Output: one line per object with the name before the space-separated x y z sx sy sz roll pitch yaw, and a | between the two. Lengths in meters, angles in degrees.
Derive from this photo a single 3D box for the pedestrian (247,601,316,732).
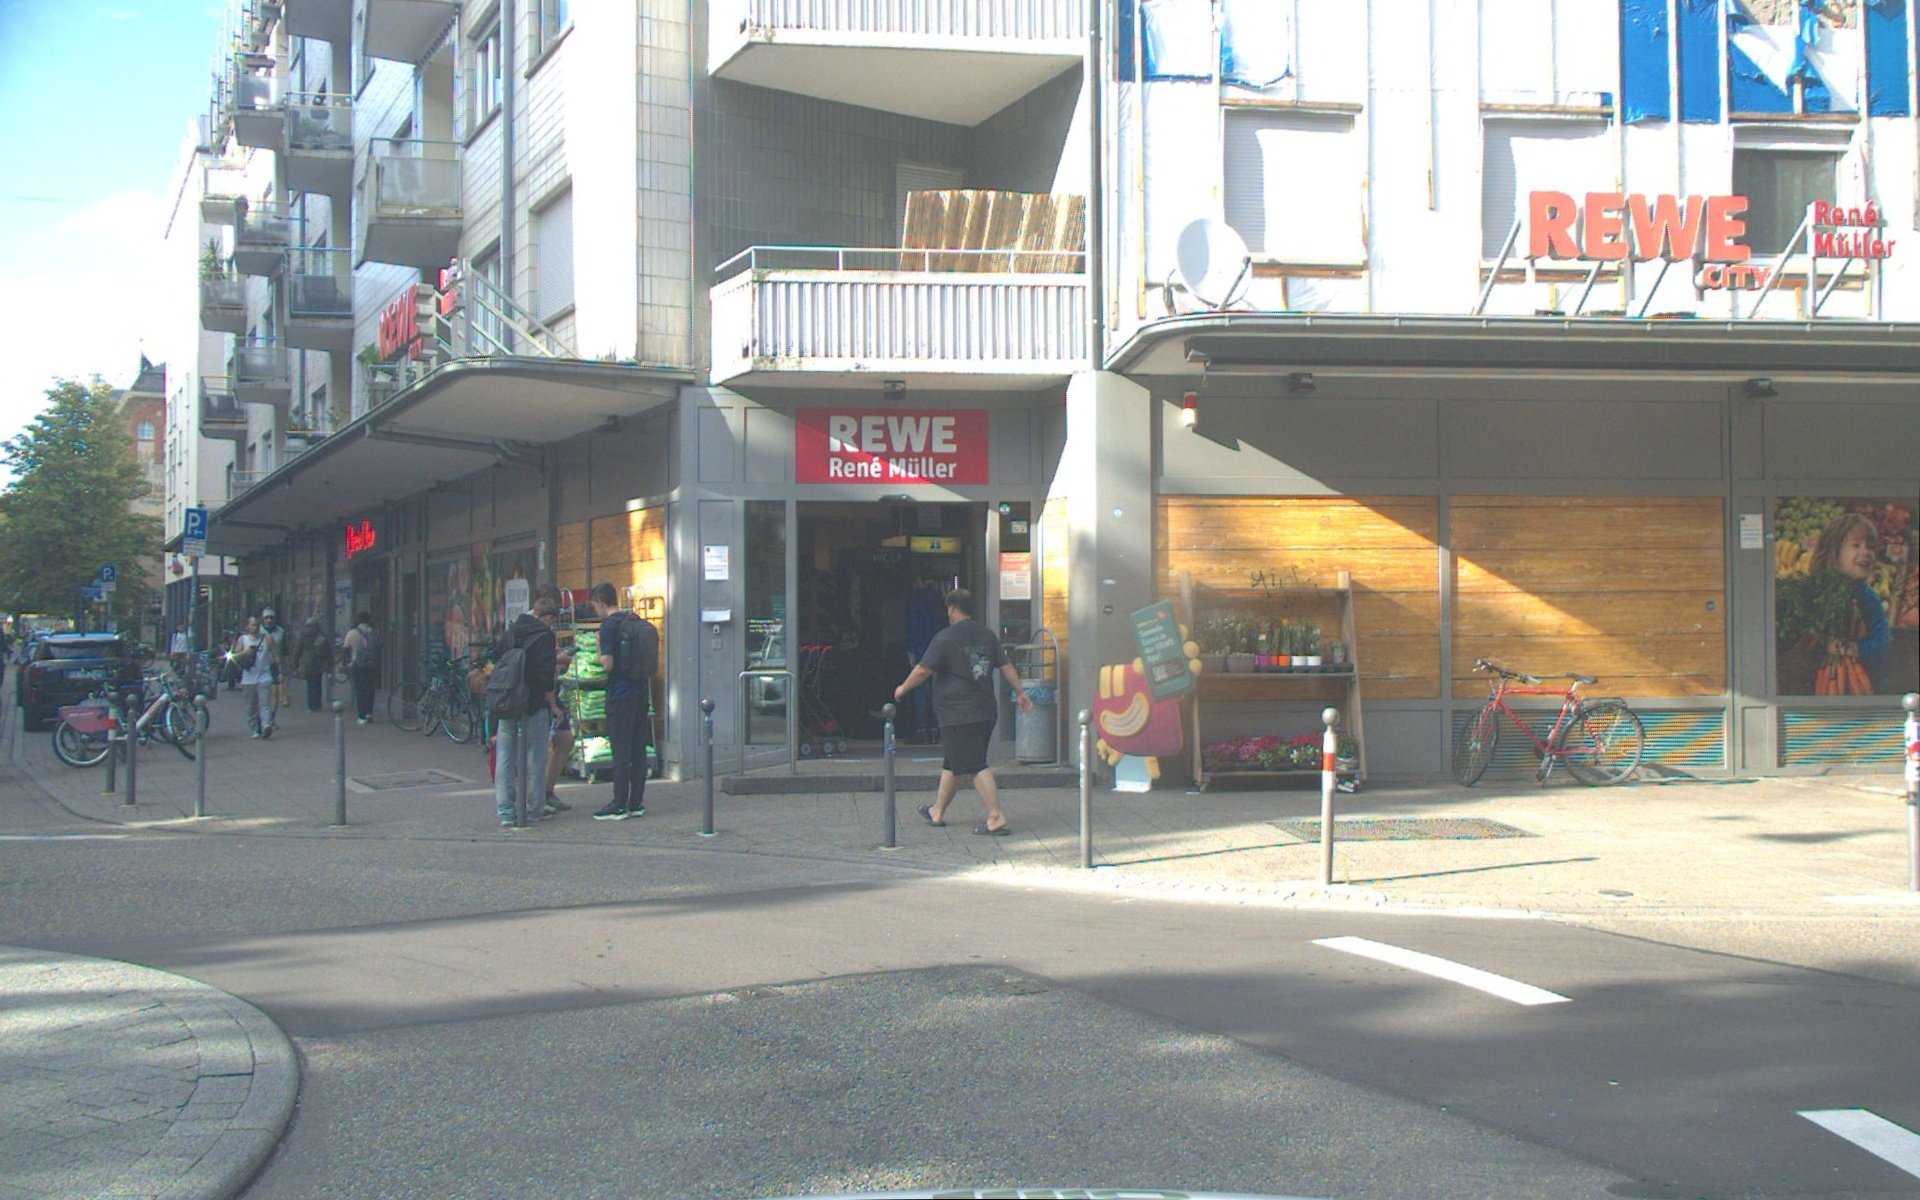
pedestrian | -10.137 0.977 24.738 0.872 1.866 1.040 -2 0 -22

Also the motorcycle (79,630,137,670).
motorcycle | -36.073 2.104 70.067 2.124 1.557 0.680 -2 1 -26

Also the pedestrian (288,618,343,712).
pedestrian | -11.368 1.132 29.181 0.814 1.616 0.773 0 -1 -28

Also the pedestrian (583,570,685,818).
pedestrian | -2.525 0.700 12.779 0.643 1.828 0.656 -3 1 -17

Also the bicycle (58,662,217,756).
bicycle | -10.890 1.419 21.935 1.777 1.089 0.578 -2 1 -40

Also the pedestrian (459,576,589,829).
pedestrian | -3.272 0.753 12.463 0.617 1.828 0.715 -2 1 11

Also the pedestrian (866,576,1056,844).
pedestrian | -0.001 0.741 11.793 0.844 1.777 1.034 -3 1 -39

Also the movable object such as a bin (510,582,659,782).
movable object such as a bin | -3.662 0.752 15.945 0.771 1.775 2.399 0 -1 -29

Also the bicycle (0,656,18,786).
bicycle | -10.520 1.267 17.676 0.710 1.296 1.866 2 -2 -28

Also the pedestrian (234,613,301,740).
pedestrian | -9.553 1.041 22.798 0.792 1.700 1.013 0 -2 -27

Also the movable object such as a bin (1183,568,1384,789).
movable object such as a bin | 2.696 0.629 13.847 1.515 1.785 0.689 0 1 -8

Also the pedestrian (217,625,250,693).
pedestrian | -17.867 1.435 40.660 0.636 1.616 0.773 -2 0 -28

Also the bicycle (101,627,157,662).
bicycle | -29.913 1.601 59.549 1.745 1.182 0.644 -2 1 -28

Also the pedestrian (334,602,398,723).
pedestrian | -9.039 0.938 25.170 0.707 1.777 0.808 -2 1 -32

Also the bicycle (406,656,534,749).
bicycle | -5.944 1.230 20.020 1.702 1.061 0.674 -3 -2 41

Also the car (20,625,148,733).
car | -15.151 1.295 28.582 1.773 1.633 3.886 -3 1 -29

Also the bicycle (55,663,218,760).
bicycle | -10.602 1.415 21.334 1.777 1.089 0.561 -2 1 -40

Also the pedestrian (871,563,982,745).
pedestrian | -0.344 0.532 16.757 0.756 1.784 0.920 0 -1 -34

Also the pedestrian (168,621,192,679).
pedestrian | -24.059 1.521 50.999 0.605 1.756 1.116 0 0 -29

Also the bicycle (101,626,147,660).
bicycle | -30.880 1.591 61.082 1.479 1.166 0.407 -2 1 -30

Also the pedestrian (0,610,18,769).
pedestrian | -10.567 0.941 17.770 0.710 1.679 0.921 2 -2 -29

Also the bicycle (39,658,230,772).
bicycle | -9.694 1.321 19.454 1.868 1.145 0.896 -3 1 -36

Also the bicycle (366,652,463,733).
bicycle | -7.589 1.260 22.963 0.736 1.033 1.760 -2 0 -36

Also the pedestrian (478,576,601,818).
pedestrian | -3.299 0.745 13.033 0.697 1.828 0.633 -2 1 3

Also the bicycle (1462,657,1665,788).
bicycle | 5.055 1.021 13.912 1.498 1.051 0.583 0 0 5
